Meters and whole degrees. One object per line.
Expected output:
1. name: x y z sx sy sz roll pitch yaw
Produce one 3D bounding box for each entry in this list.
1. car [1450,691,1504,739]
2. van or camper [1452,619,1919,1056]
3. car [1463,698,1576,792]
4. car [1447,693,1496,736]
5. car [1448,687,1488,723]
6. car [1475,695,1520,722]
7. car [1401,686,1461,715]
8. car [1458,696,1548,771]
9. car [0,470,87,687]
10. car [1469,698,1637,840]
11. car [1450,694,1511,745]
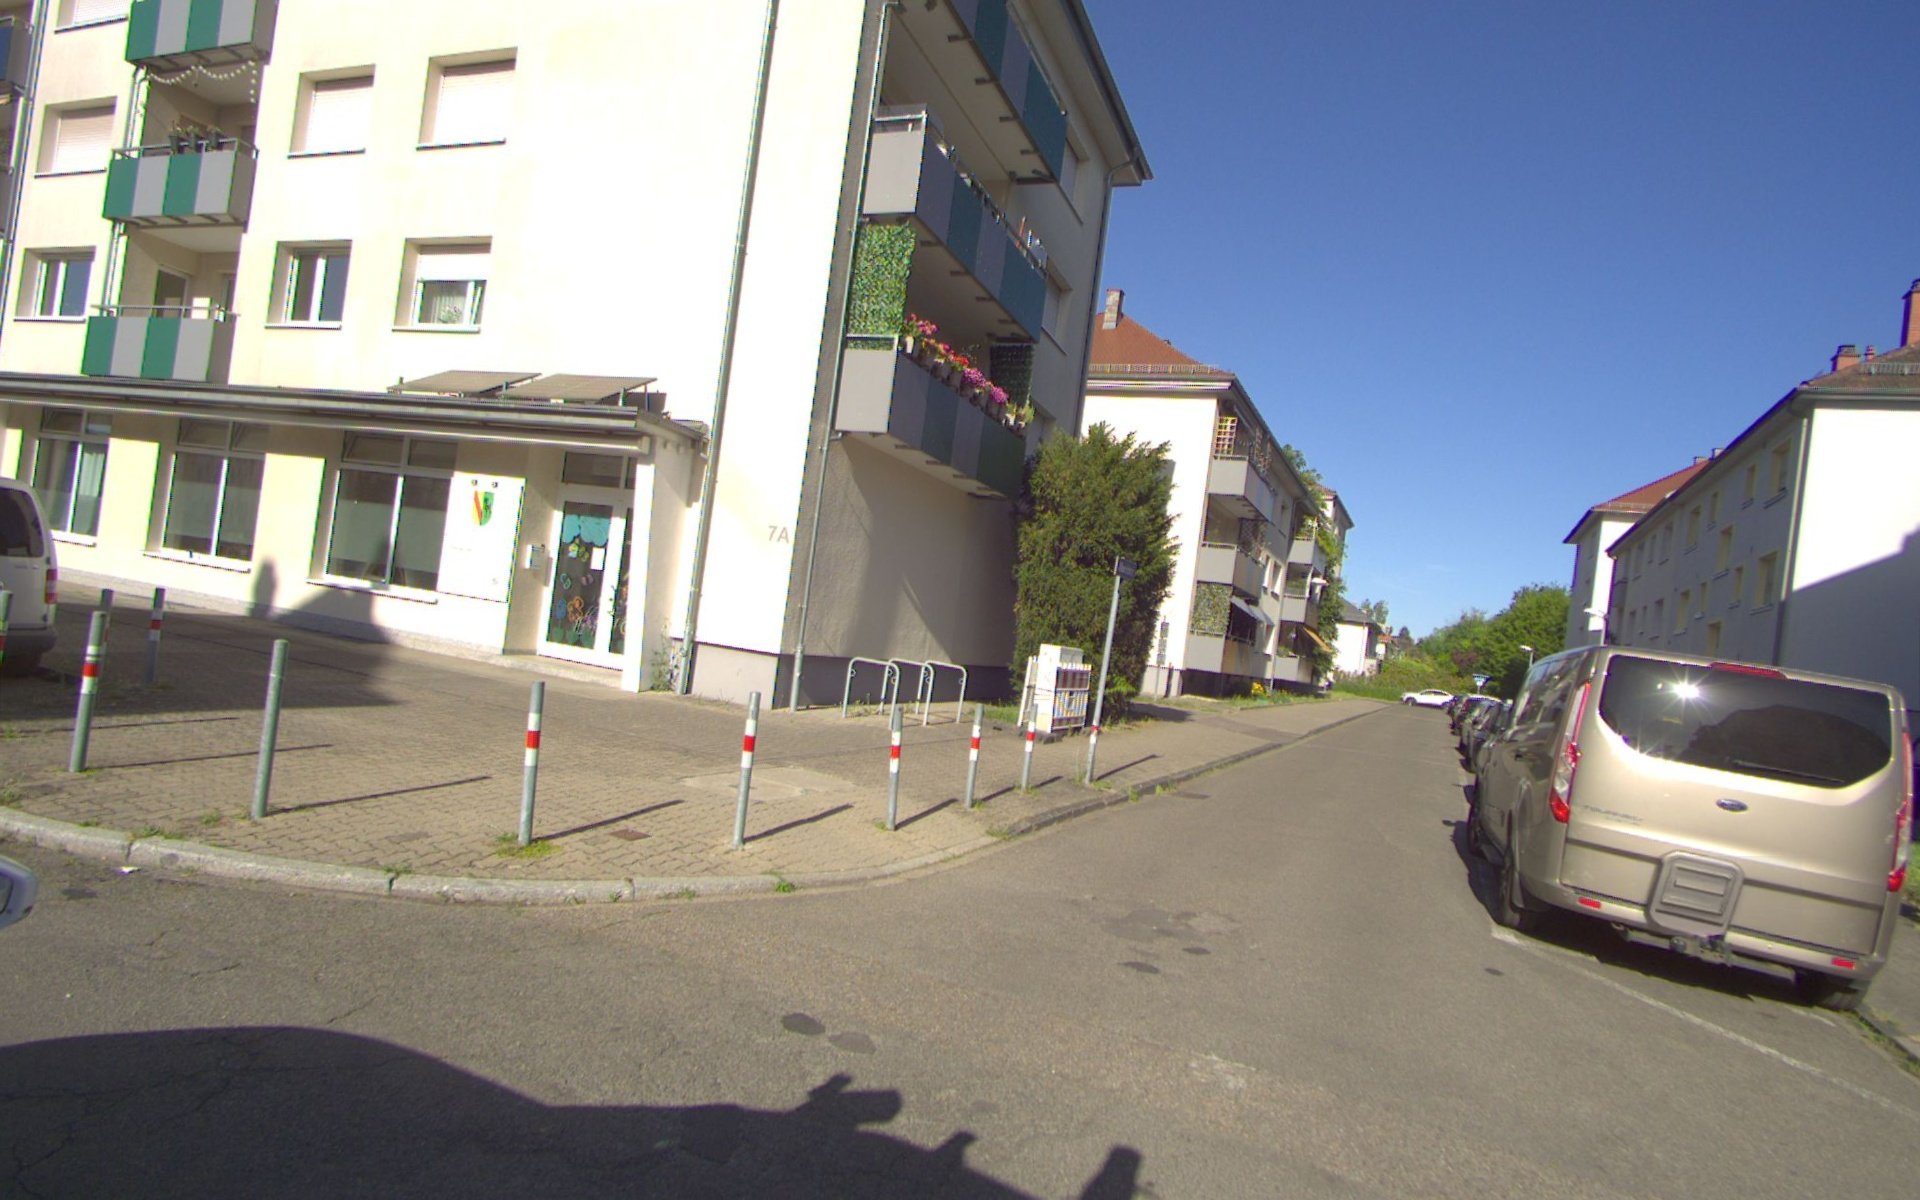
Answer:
1. car: 21.431 4.710 41.793 1.650 1.592 4.079 9 0 26
2. van or camper: 5.349 1.463 8.034 1.964 2.037 5.141 9 -1 23
3. car: 11.664 2.952 21.160 1.650 1.472 3.484 9 0 26
4. car: 23.427 5.202 46.149 1.650 1.592 4.242 9 0 26
5. car: 29.033 5.977 57.597 1.709 1.714 4.242 9 0 26
6. car: 42.660 8.634 79.943 2.889 1.649 1.391 7 1 25
7. car: 38.644 8.224 82.498 4.226 1.694 1.997 7 1 27
8. car: 14.021 3.385 26.158 1.650 1.472 4.079 9 0 26
9. car: -10.112 -0.411 9.001 4.055 1.848 1.751 7 2 22
10. car: 8.530 2.342 14.752 1.650 1.548 3.484 7 -1 26
11. car: 19.306 4.408 37.441 1.650 1.472 4.079 9 0 26
